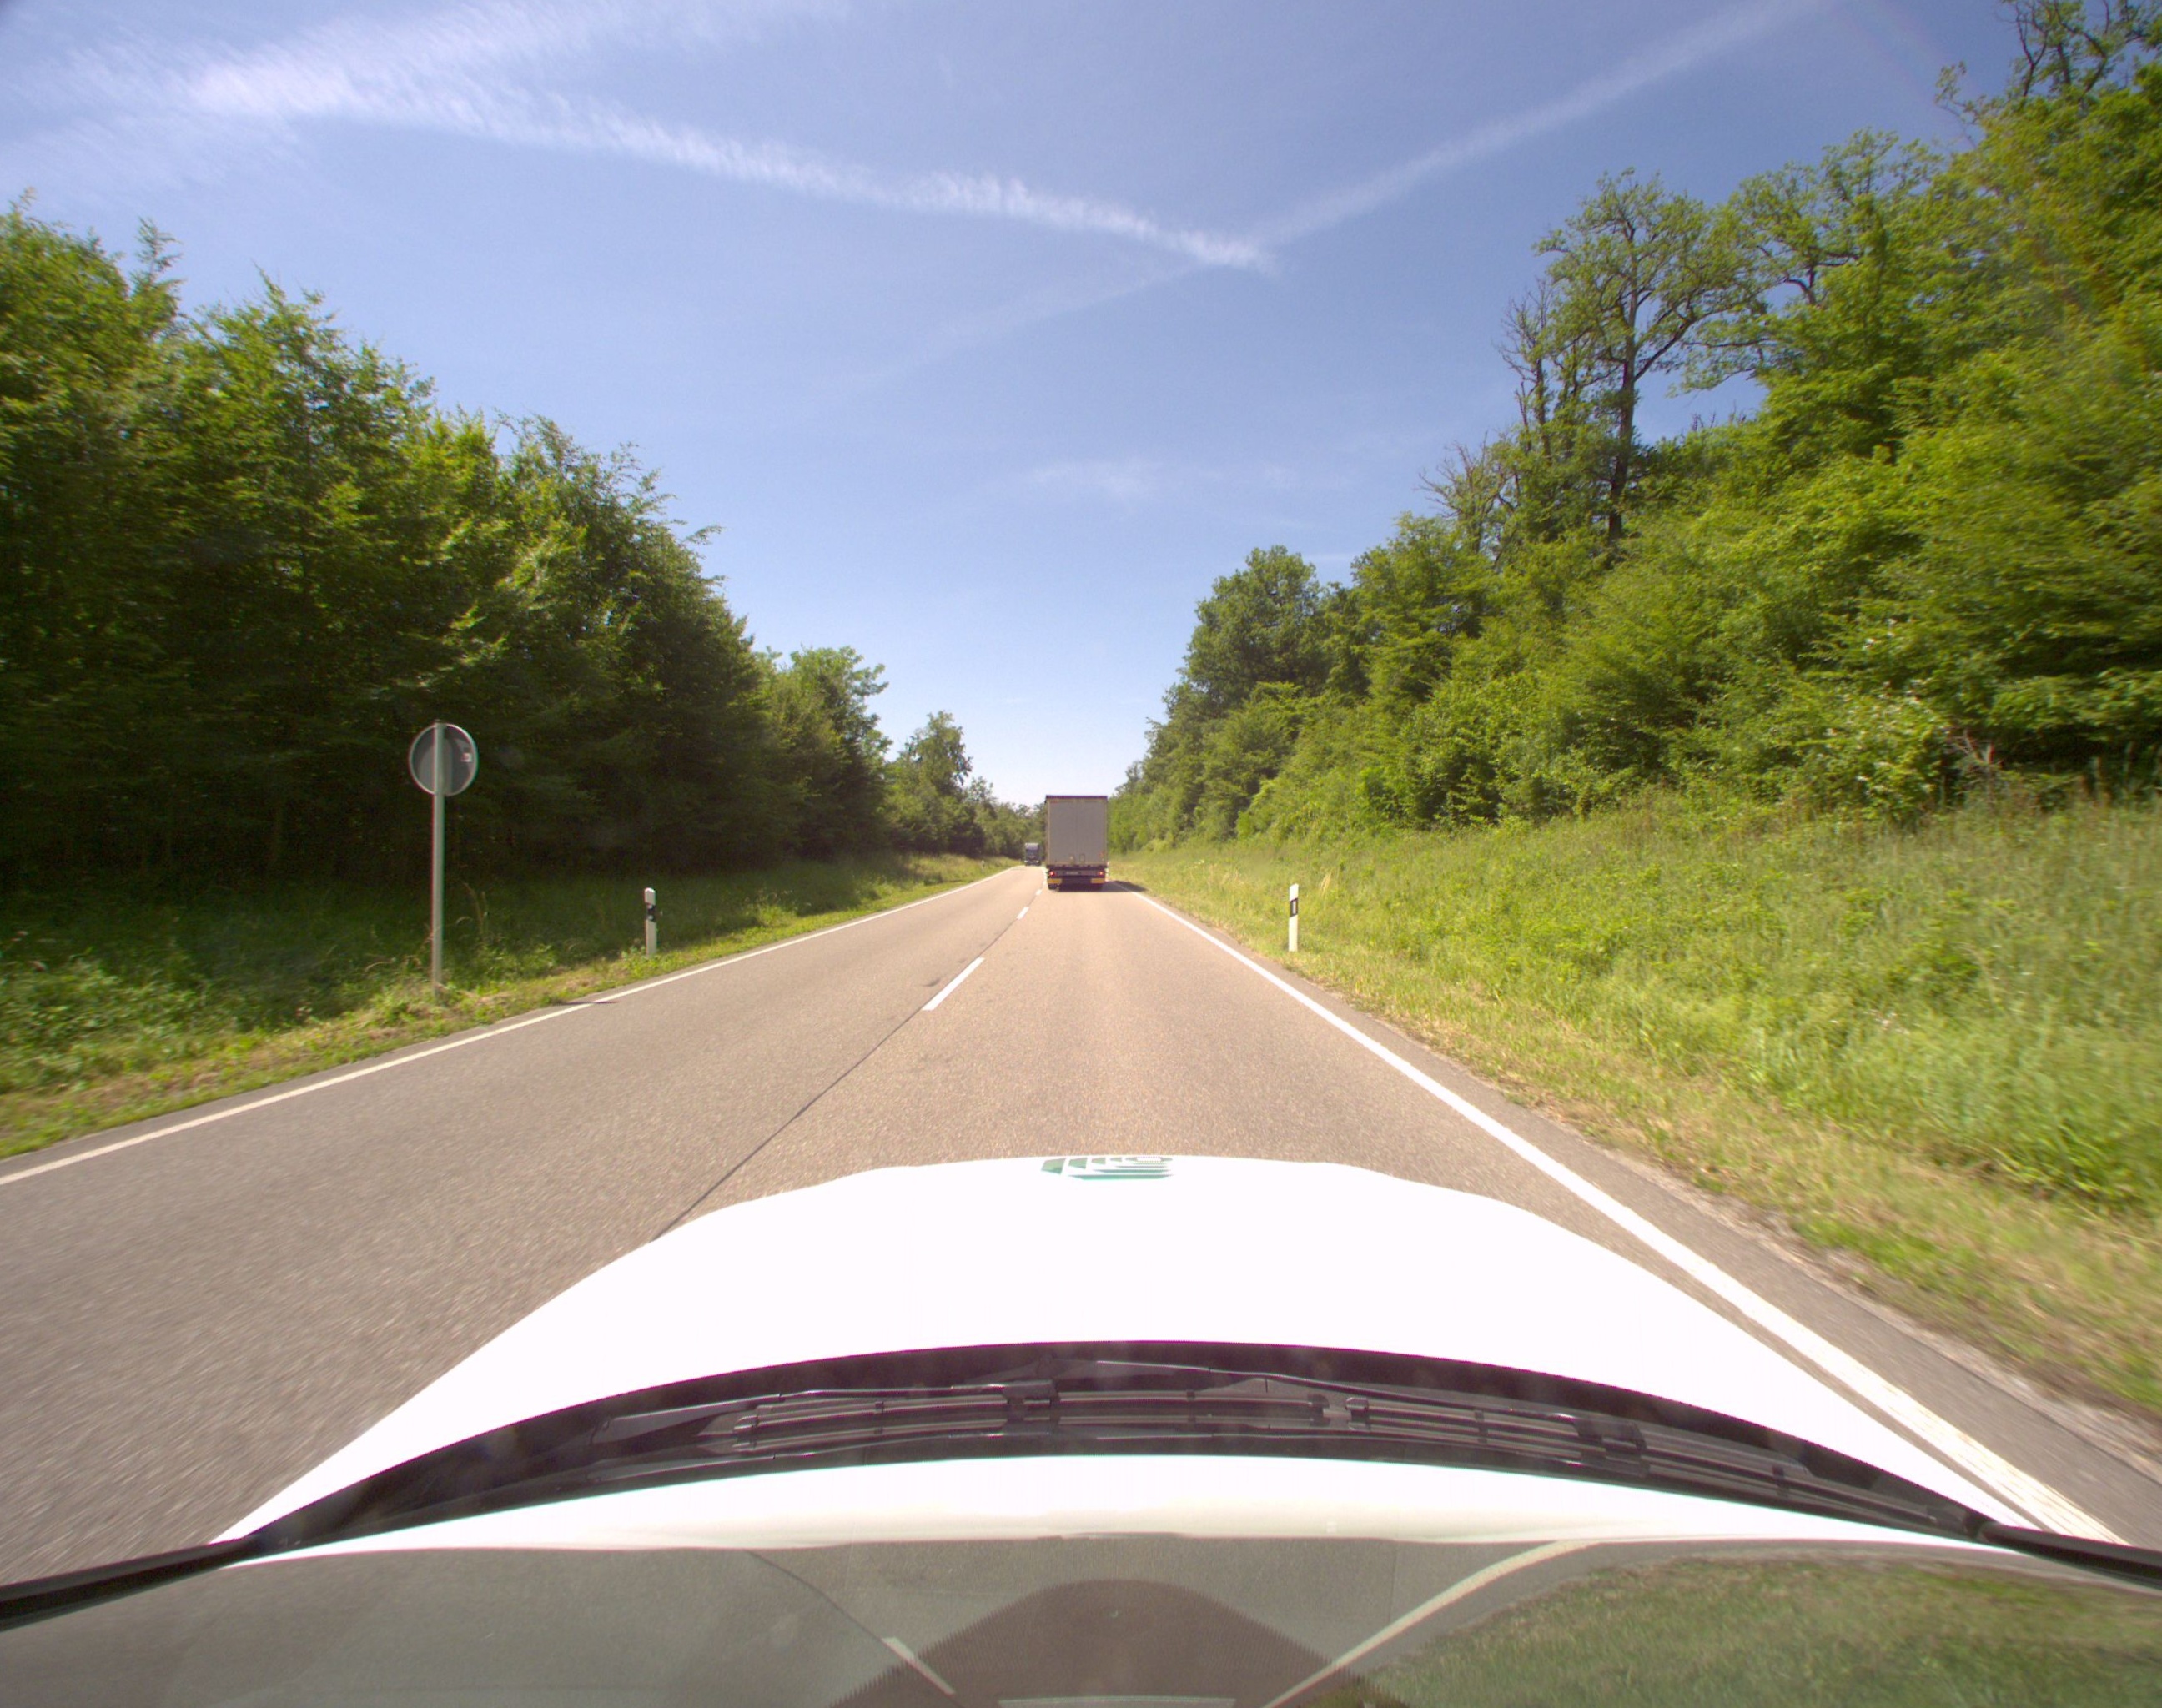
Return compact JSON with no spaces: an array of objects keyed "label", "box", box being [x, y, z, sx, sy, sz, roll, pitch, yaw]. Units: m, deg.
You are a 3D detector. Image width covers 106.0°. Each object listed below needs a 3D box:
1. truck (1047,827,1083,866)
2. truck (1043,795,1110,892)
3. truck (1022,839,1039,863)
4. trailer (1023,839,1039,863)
[{"label":"truck","box":[-2.111,-0.772,98.987,3.785,4.373,14.899,1,-1,-3]},{"label":"truck","box":[-0.229,-0.453,39.479,2.753,3.947,12.193,0,0,0]},{"label":"truck","box":[-9.126,-0.563,148.720,2.916,4.216,5.337,-1,0,-3]},{"label":"trailer","box":[-9.446,-0.560,155.116,2.935,4.252,13.604,-1,0,-3]}]
